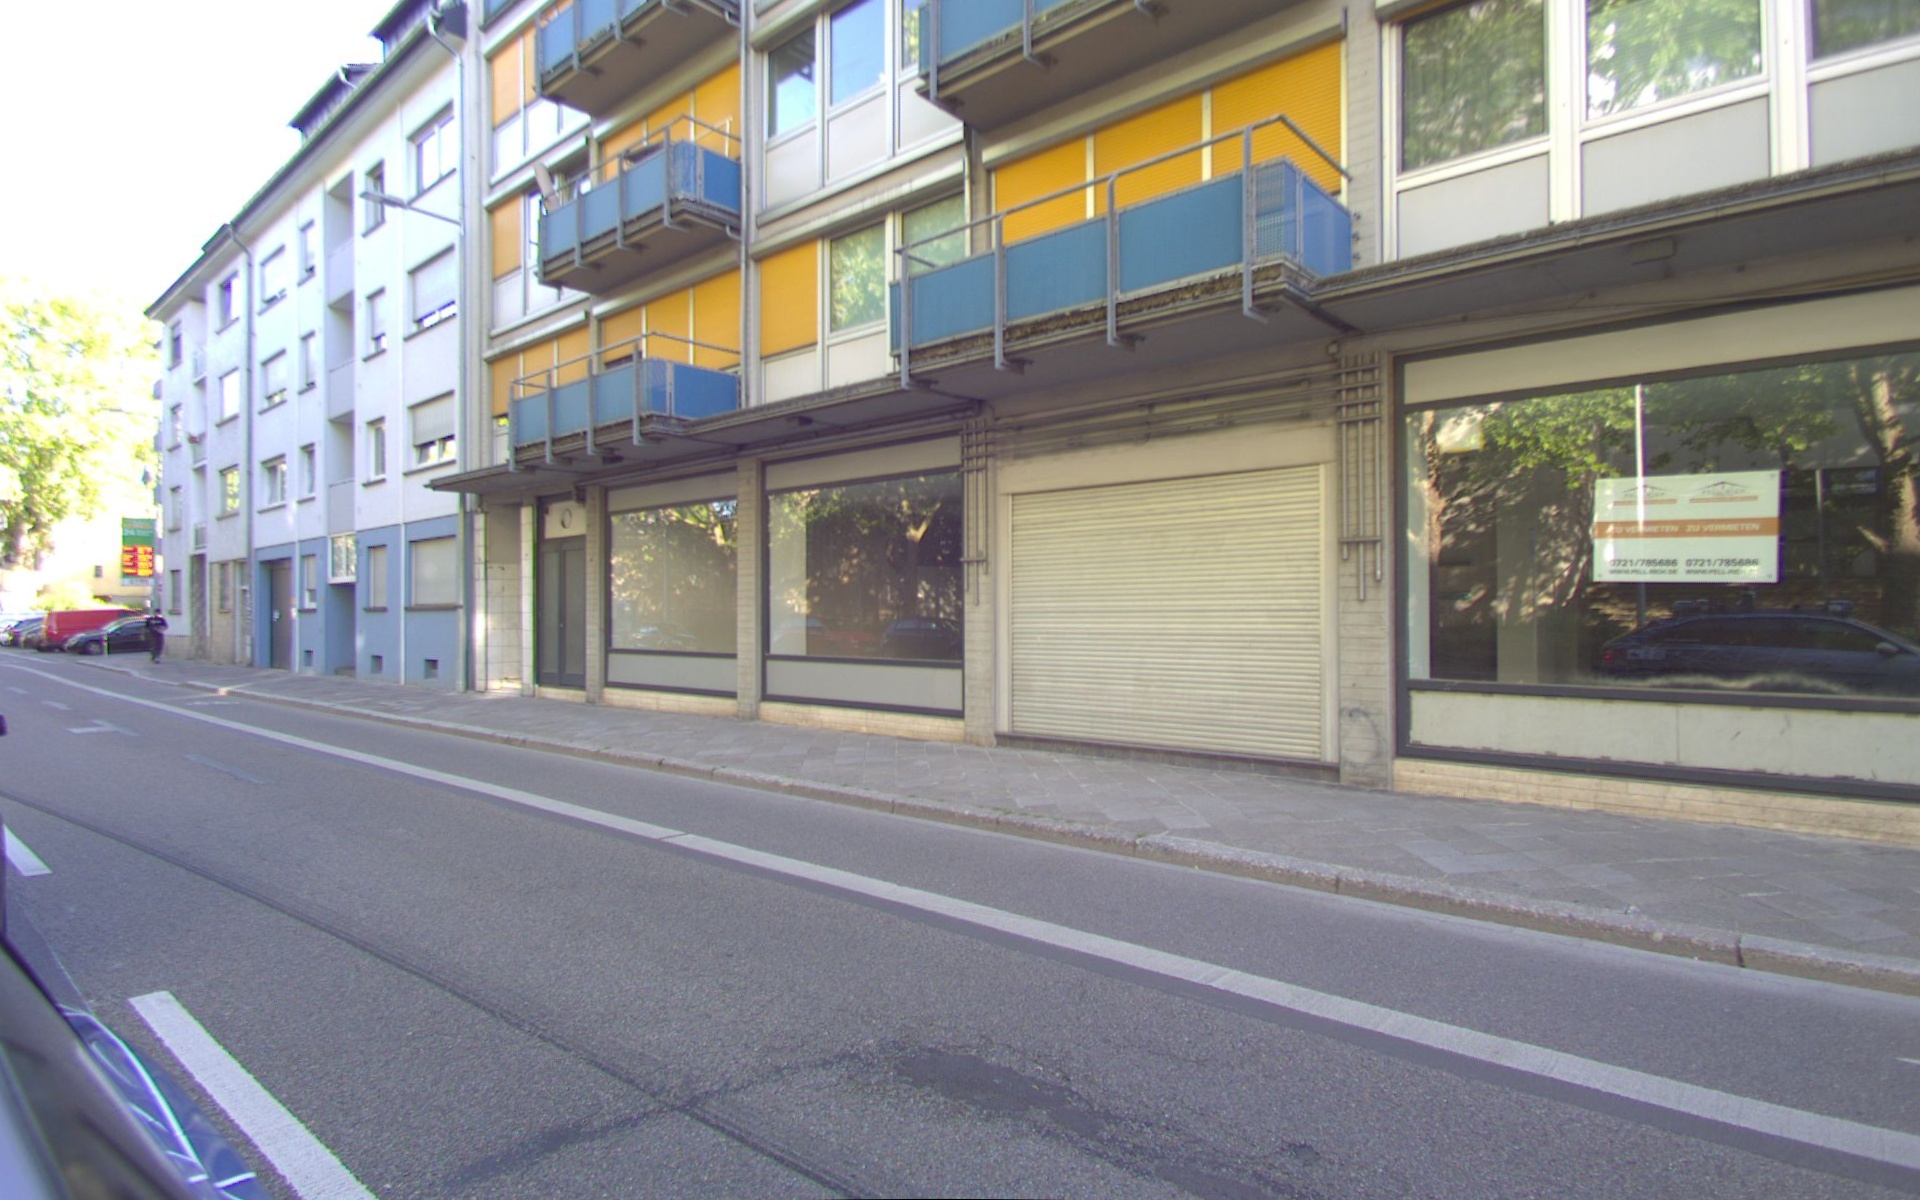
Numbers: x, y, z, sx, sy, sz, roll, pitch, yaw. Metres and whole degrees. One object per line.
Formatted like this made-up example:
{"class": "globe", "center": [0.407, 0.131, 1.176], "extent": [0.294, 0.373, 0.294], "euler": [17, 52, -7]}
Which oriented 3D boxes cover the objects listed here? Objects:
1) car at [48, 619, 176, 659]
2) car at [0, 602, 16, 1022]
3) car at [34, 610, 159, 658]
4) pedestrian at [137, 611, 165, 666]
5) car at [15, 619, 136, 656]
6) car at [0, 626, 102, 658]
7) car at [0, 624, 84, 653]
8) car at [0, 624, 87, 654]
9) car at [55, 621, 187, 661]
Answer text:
{"class": "car", "center": [-38.191, 1.731, 45.660], "extent": [1.652, 1.480, 4.201], "euler": [-1, 1, 41]}
{"class": "car", "center": [-5.647, 0.797, 4.408], "extent": [4.300, 1.510, 1.826], "euler": [-1, -1, 41]}
{"class": "car", "center": [-40.573, 1.559, 47.622], "extent": [1.817, 1.933, 4.202], "euler": [-2, 1, 40]}
{"class": "pedestrian", "center": [-25.705, 1.209, 32.163], "extent": [0.655, 1.708, 0.604], "euler": [-2, -1, 41]}
{"class": "car", "center": [-42.761, 1.791, 49.018], "extent": [1.652, 1.480, 4.201], "euler": [-1, 1, 41]}
{"class": "car", "center": [-50.468, 2.293, 56.108], "extent": [1.652, 1.480, 4.201], "euler": [-1, 1, 41]}
{"class": "car", "center": [-55.883, 2.300, 61.201], "extent": [1.652, 1.480, 4.201], "euler": [-1, 1, 41]}
{"class": "car", "center": [-54.501, 2.279, 59.793], "extent": [1.652, 1.480, 4.201], "euler": [-1, 1, 41]}
{"class": "car", "center": [-36.498, 1.744, 44.097], "extent": [1.652, 1.411, 4.201], "euler": [-1, 1, 41]}
